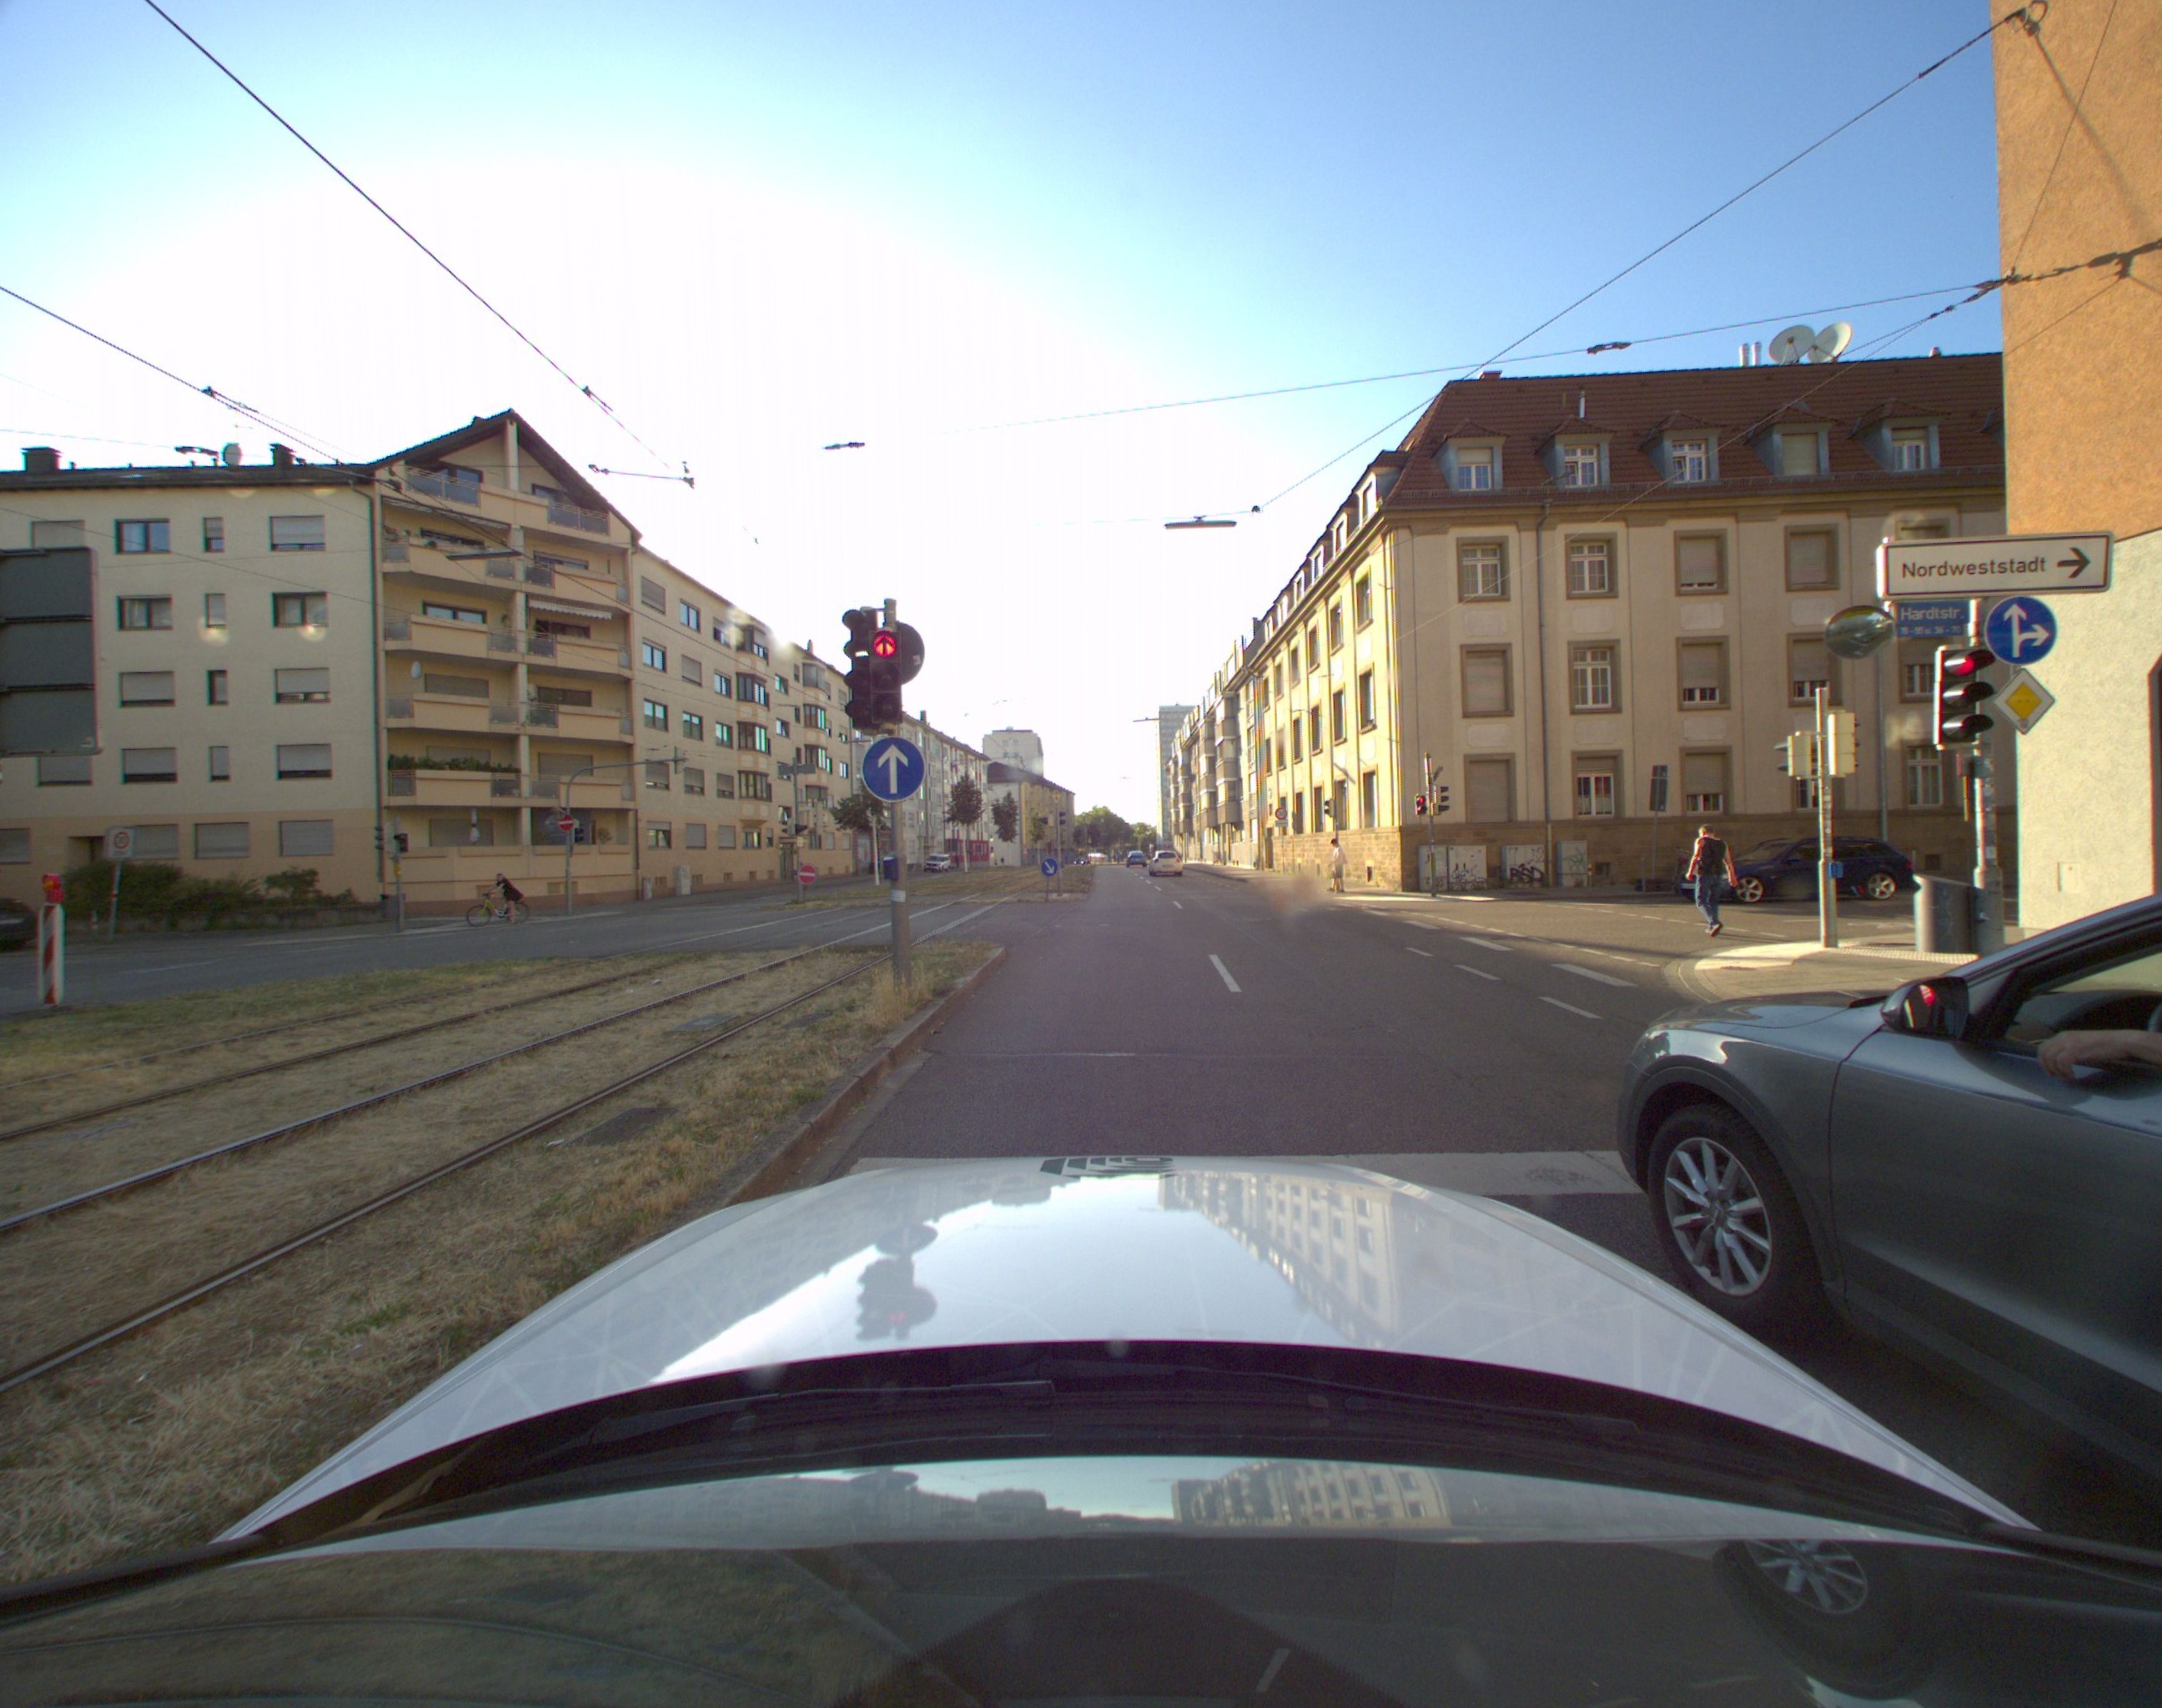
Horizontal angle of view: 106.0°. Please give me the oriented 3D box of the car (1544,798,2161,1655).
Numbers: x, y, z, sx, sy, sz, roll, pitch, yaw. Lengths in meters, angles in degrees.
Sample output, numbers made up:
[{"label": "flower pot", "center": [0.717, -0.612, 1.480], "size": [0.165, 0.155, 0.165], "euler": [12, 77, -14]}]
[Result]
[{"label": "car", "center": [2.808, 0.680, 1.440], "size": [1.691, 1.552, 4.227], "euler": [0, 0, 2]}]

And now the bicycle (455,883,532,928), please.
[{"label": "bicycle", "center": [-18.252, 1.580, 25.352], "size": [0.450, 1.257, 1.883], "euler": [-1, 1, 34]}]

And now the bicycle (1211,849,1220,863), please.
[{"label": "bicycle", "center": [10.226, 0.162, 61.812], "size": [0.382, 1.096, 1.503], "euler": [-2, -1, 0]}]

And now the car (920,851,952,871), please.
[{"label": "car", "center": [-14.578, 0.683, 82.116], "size": [1.984, 1.925, 4.548], "euler": [0, -1, 5]}]

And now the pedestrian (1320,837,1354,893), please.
[{"label": "pedestrian", "center": [8.185, 0.354, 26.056], "size": [0.832, 1.762, 0.824], "euler": [0, -1, 1]}]

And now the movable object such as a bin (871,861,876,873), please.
[{"label": "movable object such as a bin", "center": [-17.554, 1.109, 68.865], "size": [0.297, 1.036, 0.442], "euler": [0, -1, 2]}]

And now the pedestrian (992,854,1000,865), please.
[{"label": "pedestrian", "center": [-12.444, 0.800, 119.659], "size": [0.957, 1.694, 1.013], "euler": [0, -1, 7]}]

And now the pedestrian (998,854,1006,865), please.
[{"label": "pedestrian", "center": [-11.609, 0.799, 120.245], "size": [0.957, 1.670, 1.013], "euler": [0, -1, 7]}]

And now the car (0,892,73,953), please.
[{"label": "car", "center": [-30.123, 1.907, 21.547], "size": [3.983, 1.442, 1.996], "euler": [-2, 2, -7]}]

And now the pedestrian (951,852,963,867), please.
[{"label": "pedestrian", "center": [-14.445, 0.663, 95.016], "size": [1.268, 1.761, 1.271], "euler": [0, -1, -7]}]

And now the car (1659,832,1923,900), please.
[{"label": "car", "center": [16.093, 0.270, 18.647], "size": [4.296, 1.456, 1.934], "euler": [0, -1, 2]}]

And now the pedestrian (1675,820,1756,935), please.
[{"label": "pedestrian", "center": [9.999, 0.364, 12.857], "size": [0.627, 1.758, 0.826], "euler": [0, -1, 1]}]

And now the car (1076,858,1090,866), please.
[{"label": "car", "center": [0.361, 1.596, 163.544], "size": [1.885, 1.633, 4.761], "euler": [-2, 0, 10]}]

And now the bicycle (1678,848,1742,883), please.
[{"label": "bicycle", "center": [18.540, 0.336, 24.008], "size": [1.491, 1.018, 0.251], "euler": [-1, -1, 17]}]

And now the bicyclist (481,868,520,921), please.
[{"label": "bicyclist", "center": [-18.163, 1.254, 25.481], "size": [0.620, 1.586, 0.814], "euler": [-1, 0, 35]}]

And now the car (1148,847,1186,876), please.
[{"label": "car", "center": [4.913, 0.430, 47.105], "size": [1.985, 1.564, 4.003], "euler": [0, -1, 3]}]

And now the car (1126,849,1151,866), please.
[{"label": "car", "center": [5.253, 0.342, 74.964], "size": [1.986, 1.554, 4.394], "euler": [0, -1, 1]}]
